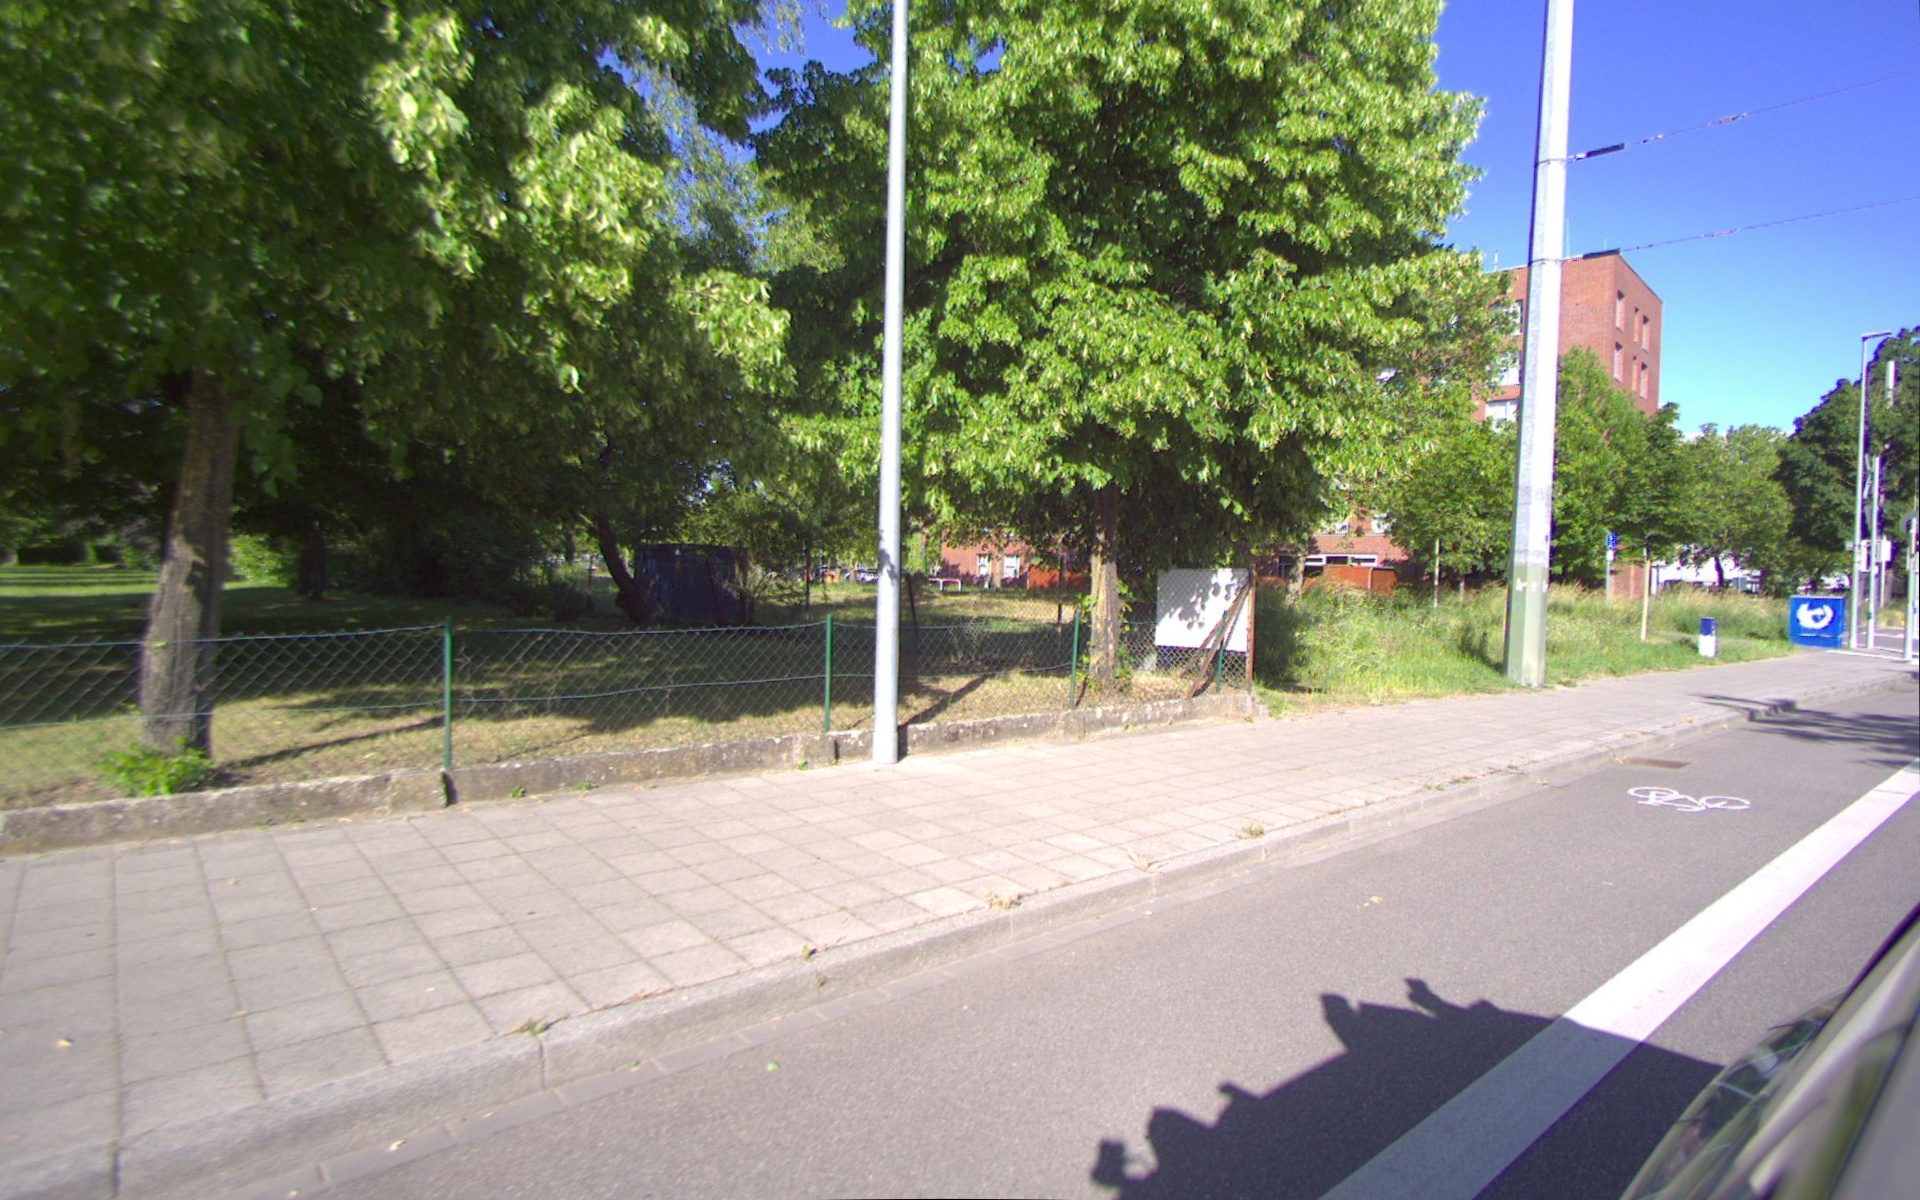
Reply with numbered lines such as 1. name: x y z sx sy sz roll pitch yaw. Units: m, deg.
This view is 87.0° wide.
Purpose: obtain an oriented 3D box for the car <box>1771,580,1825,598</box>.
1. car: 104.186 -1.331 125.861 1.937 1.974 4.766 1 2 -35
